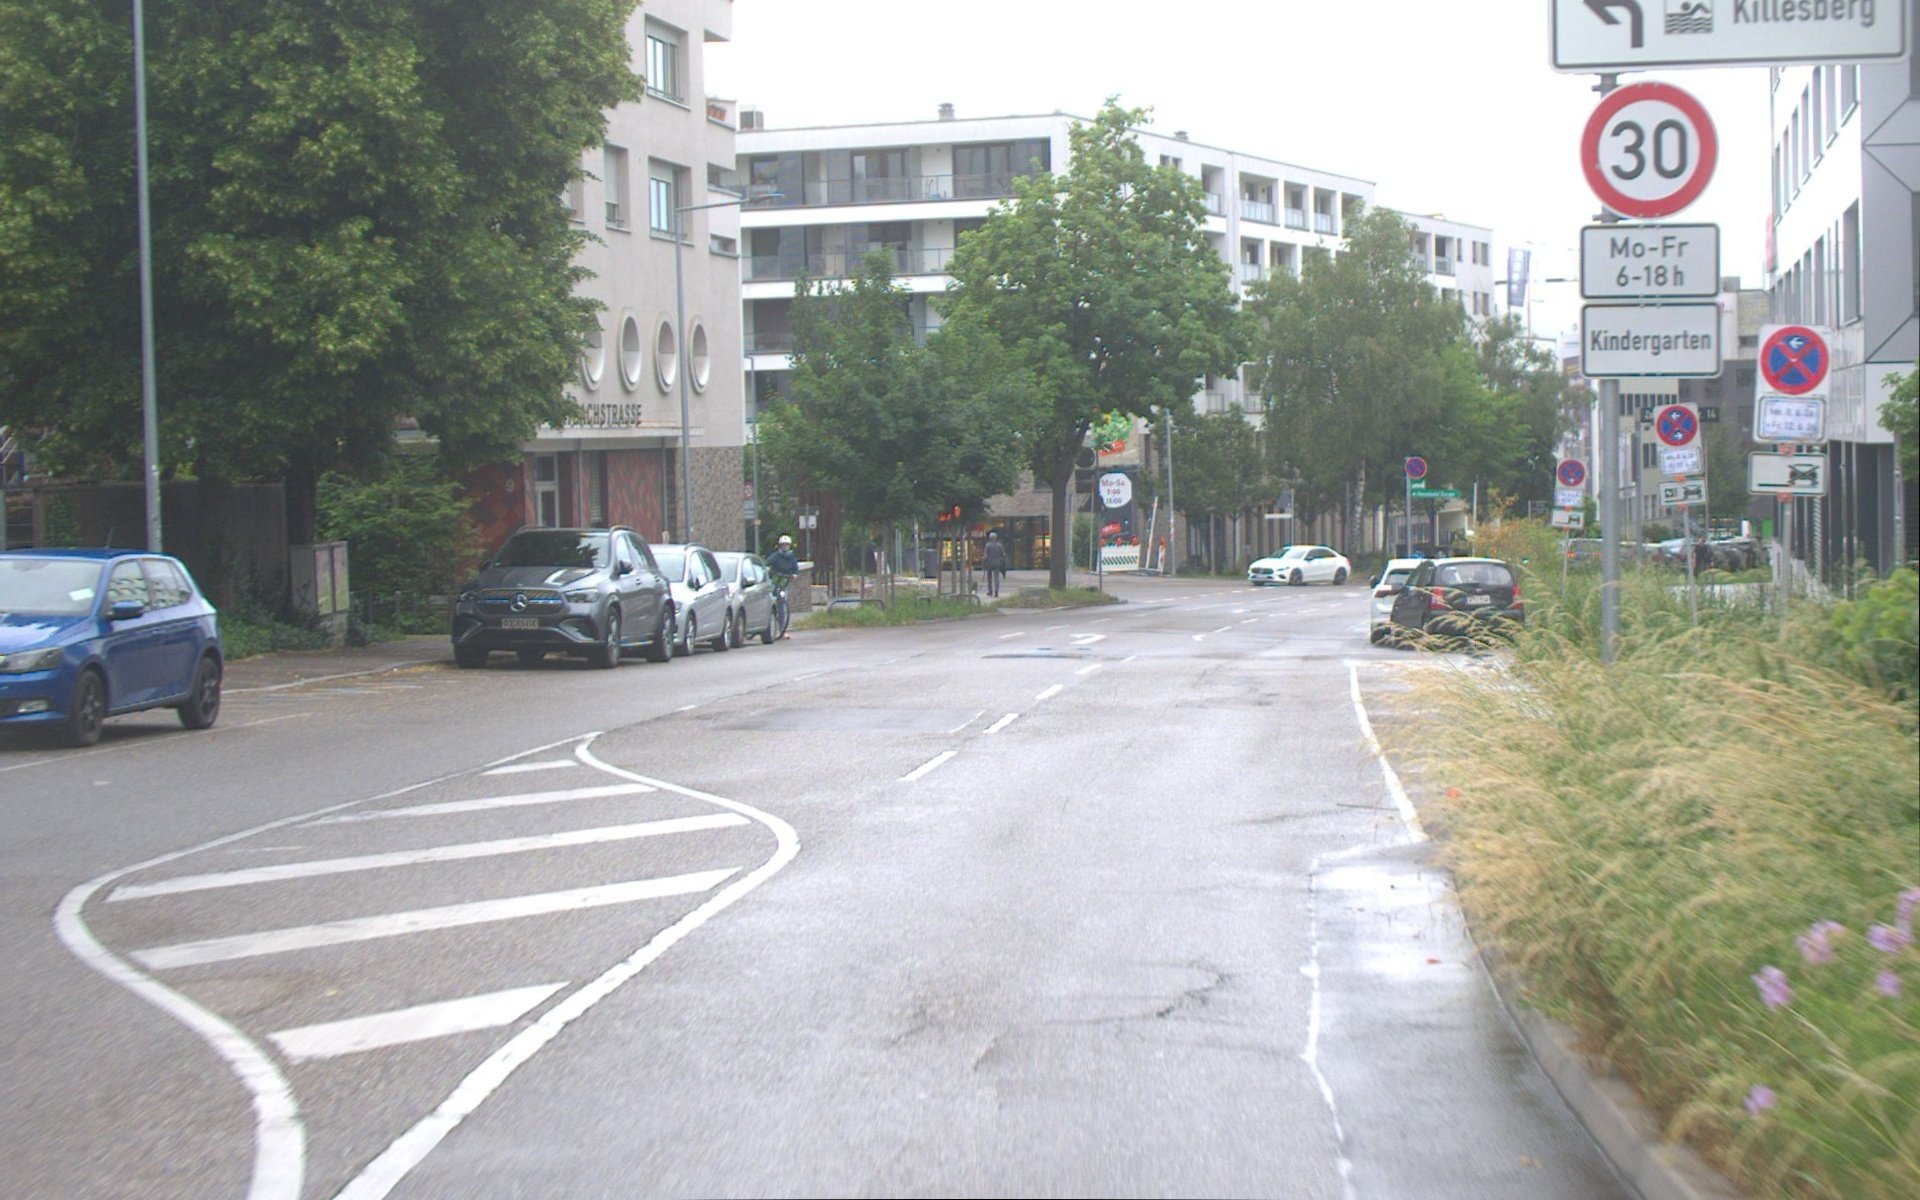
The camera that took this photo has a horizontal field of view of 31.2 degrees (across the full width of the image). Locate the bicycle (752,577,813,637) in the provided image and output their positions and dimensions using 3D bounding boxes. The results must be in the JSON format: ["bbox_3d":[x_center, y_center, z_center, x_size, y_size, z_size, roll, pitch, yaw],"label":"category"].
[{"bbox_3d":[-2.963,0.109,57.574,0.802,0.975,2.254,0,1,3],"label":"bicycle"}]

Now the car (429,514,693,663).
[{"bbox_3d":[-4.987,-0.178,43.834,1.994,1.780,5.409,0,1,9],"label":"car"}]

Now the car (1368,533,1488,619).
[{"bbox_3d":[8.357,-0.453,61.331,2.040,1.459,4.501,0,1,8],"label":"car"}]

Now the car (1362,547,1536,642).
[{"bbox_3d":[7.931,-0.112,56.126,2.044,1.453,4.056,0,1,-3],"label":"car"}]

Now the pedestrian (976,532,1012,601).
[{"bbox_3d":[0.999,-0.977,100.841,1.055,2.007,1.099,0,1,1],"label":"pedestrian"}]

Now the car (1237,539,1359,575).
[{"bbox_3d":[12.193,-1.560,123.945,1.998,1.288,4.691,1,1,41],"label":"car"}]

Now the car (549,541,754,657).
[{"bbox_3d":[-4.395,-0.044,49.646,1.990,1.587,4.488,0,1,8],"label":"car"}]

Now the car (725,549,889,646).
[{"bbox_3d":[-2.354,-0.067,53.863,1.880,1.458,3.846,0,1,8],"label":"car"}]

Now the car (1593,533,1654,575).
[{"bbox_3d":[25.011,-1.739,129.506,1.548,1.473,3.656,0,2,22],"label":"car"}]

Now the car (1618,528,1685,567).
[{"bbox_3d":[27.041,-2.051,134.381,1.809,1.479,4.490,0,1,21],"label":"car"}]

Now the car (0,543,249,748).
[{"bbox_3d":[-7.189,0.295,26.753,1.994,1.465,4.184,0,1,7],"label":"car"}]

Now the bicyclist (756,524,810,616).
[{"bbox_3d":[-2.962,-0.508,57.587,0.801,1.517,1.202,0,1,2],"label":"bicyclist"}]
